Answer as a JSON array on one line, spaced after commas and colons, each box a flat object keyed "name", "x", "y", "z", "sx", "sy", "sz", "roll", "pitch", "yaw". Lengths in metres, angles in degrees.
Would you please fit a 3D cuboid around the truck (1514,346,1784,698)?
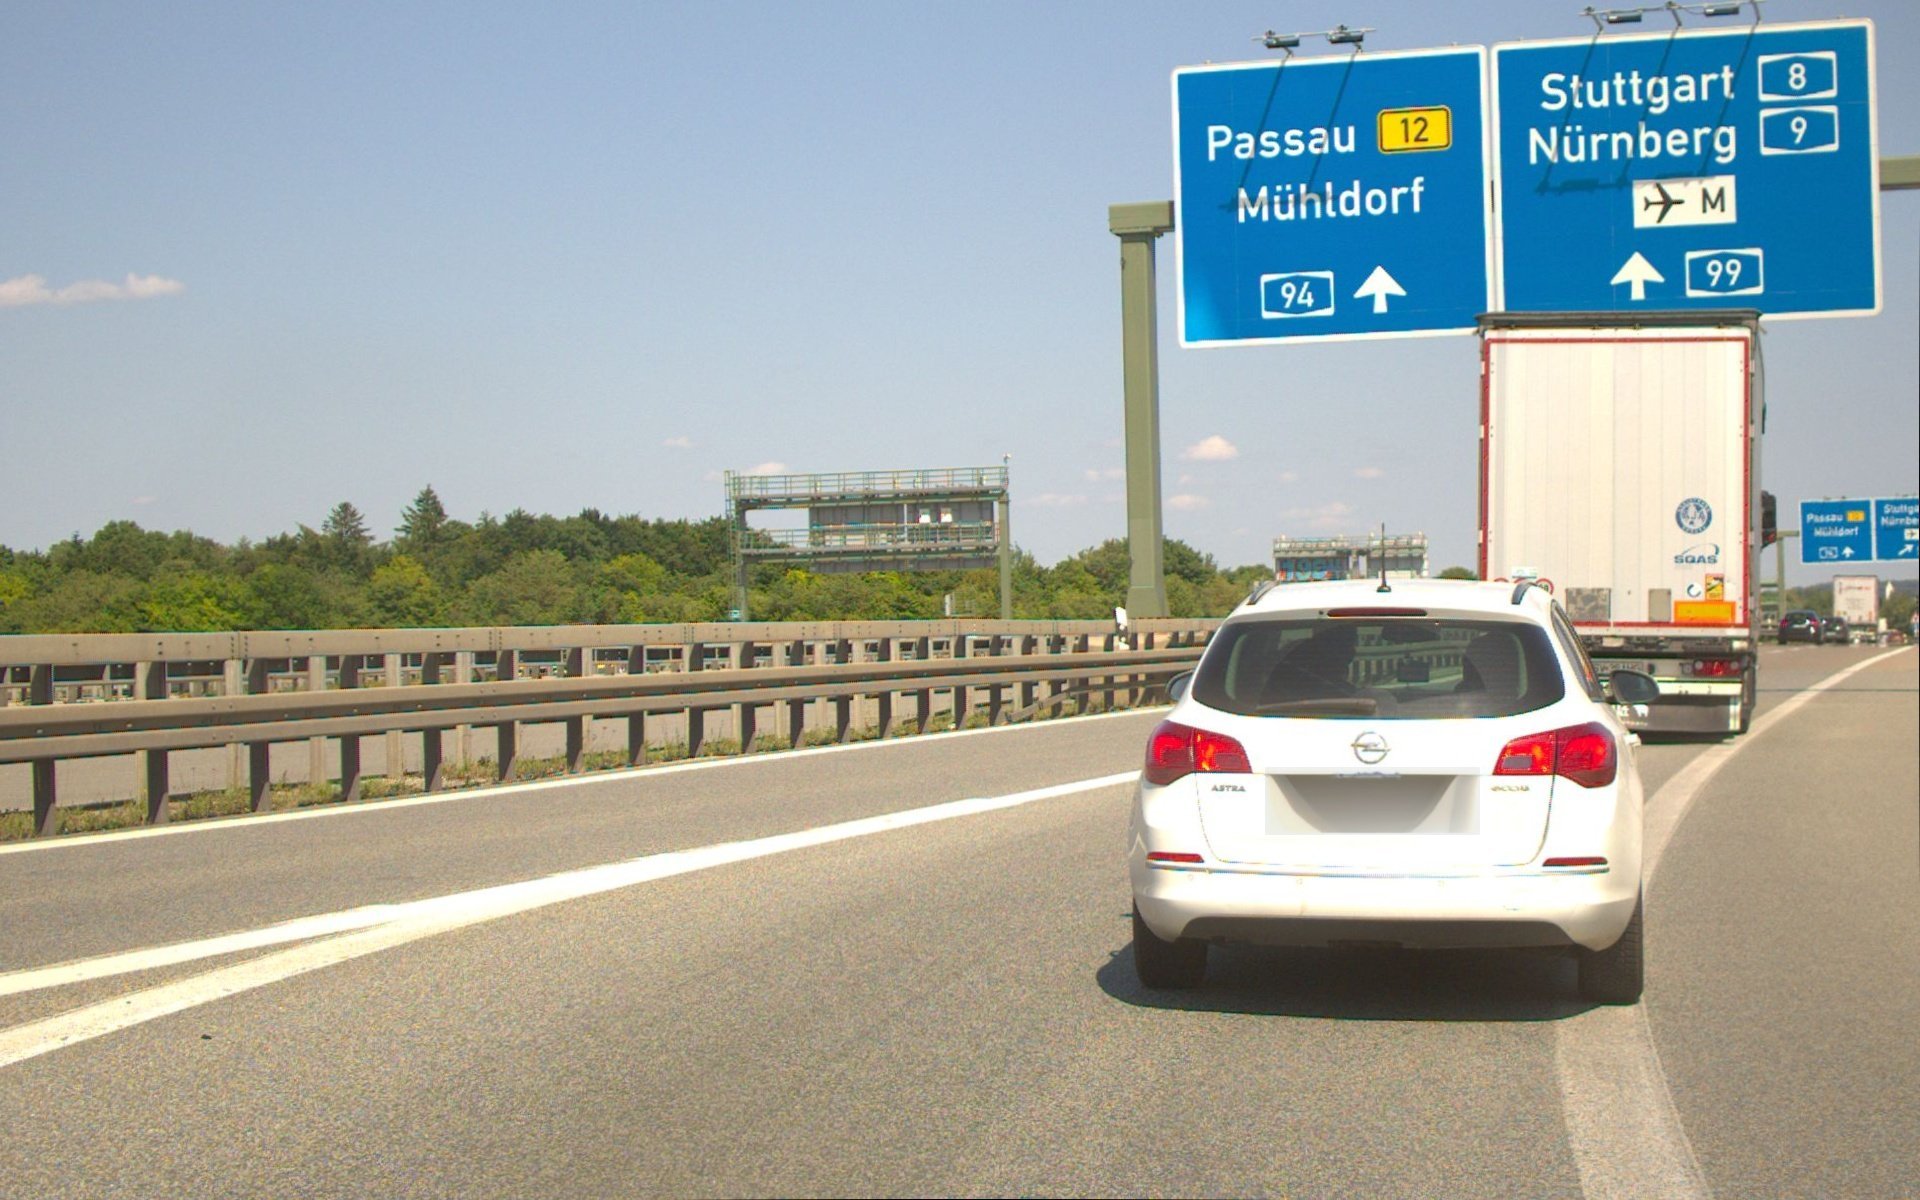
[{"name": "truck", "x": 8.933, "y": -0.861, "z": 43.967, "sx": 2.914, "sy": 4.131, "sz": 6.920, "roll": 0, "pitch": -1, "yaw": 15}]

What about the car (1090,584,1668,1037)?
[{"name": "car", "x": 1.722, "y": 0.680, "z": 13.335, "sx": 1.855, "sy": 1.438, "sz": 4.370, "roll": 0, "pitch": 0, "yaw": 10}]

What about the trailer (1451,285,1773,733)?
[{"name": "trailer", "x": 7.325, "y": -0.749, "z": 37.486, "sx": 2.914, "sy": 4.131, "sz": 11.250, "roll": 0, "pitch": -1, "yaw": 13}]

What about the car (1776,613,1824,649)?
[{"name": "car", "x": 35.111, "y": 1.305, "z": 143.646, "sx": 1.655, "sy": 1.376, "sz": 3.996, "roll": 2, "pitch": 0, "yaw": 17}]

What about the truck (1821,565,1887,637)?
[{"name": "truck", "x": 55.711, "y": 0.120, "z": 214.165, "sx": 3.542, "sy": 4.131, "sz": 11.248, "roll": 2, "pitch": 0, "yaw": 16}]

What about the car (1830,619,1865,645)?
[{"name": "car", "x": 49.264, "y": 1.777, "z": 190.755, "sx": 1.655, "sy": 1.376, "sz": 3.996, "roll": 2, "pitch": 0, "yaw": 17}]
